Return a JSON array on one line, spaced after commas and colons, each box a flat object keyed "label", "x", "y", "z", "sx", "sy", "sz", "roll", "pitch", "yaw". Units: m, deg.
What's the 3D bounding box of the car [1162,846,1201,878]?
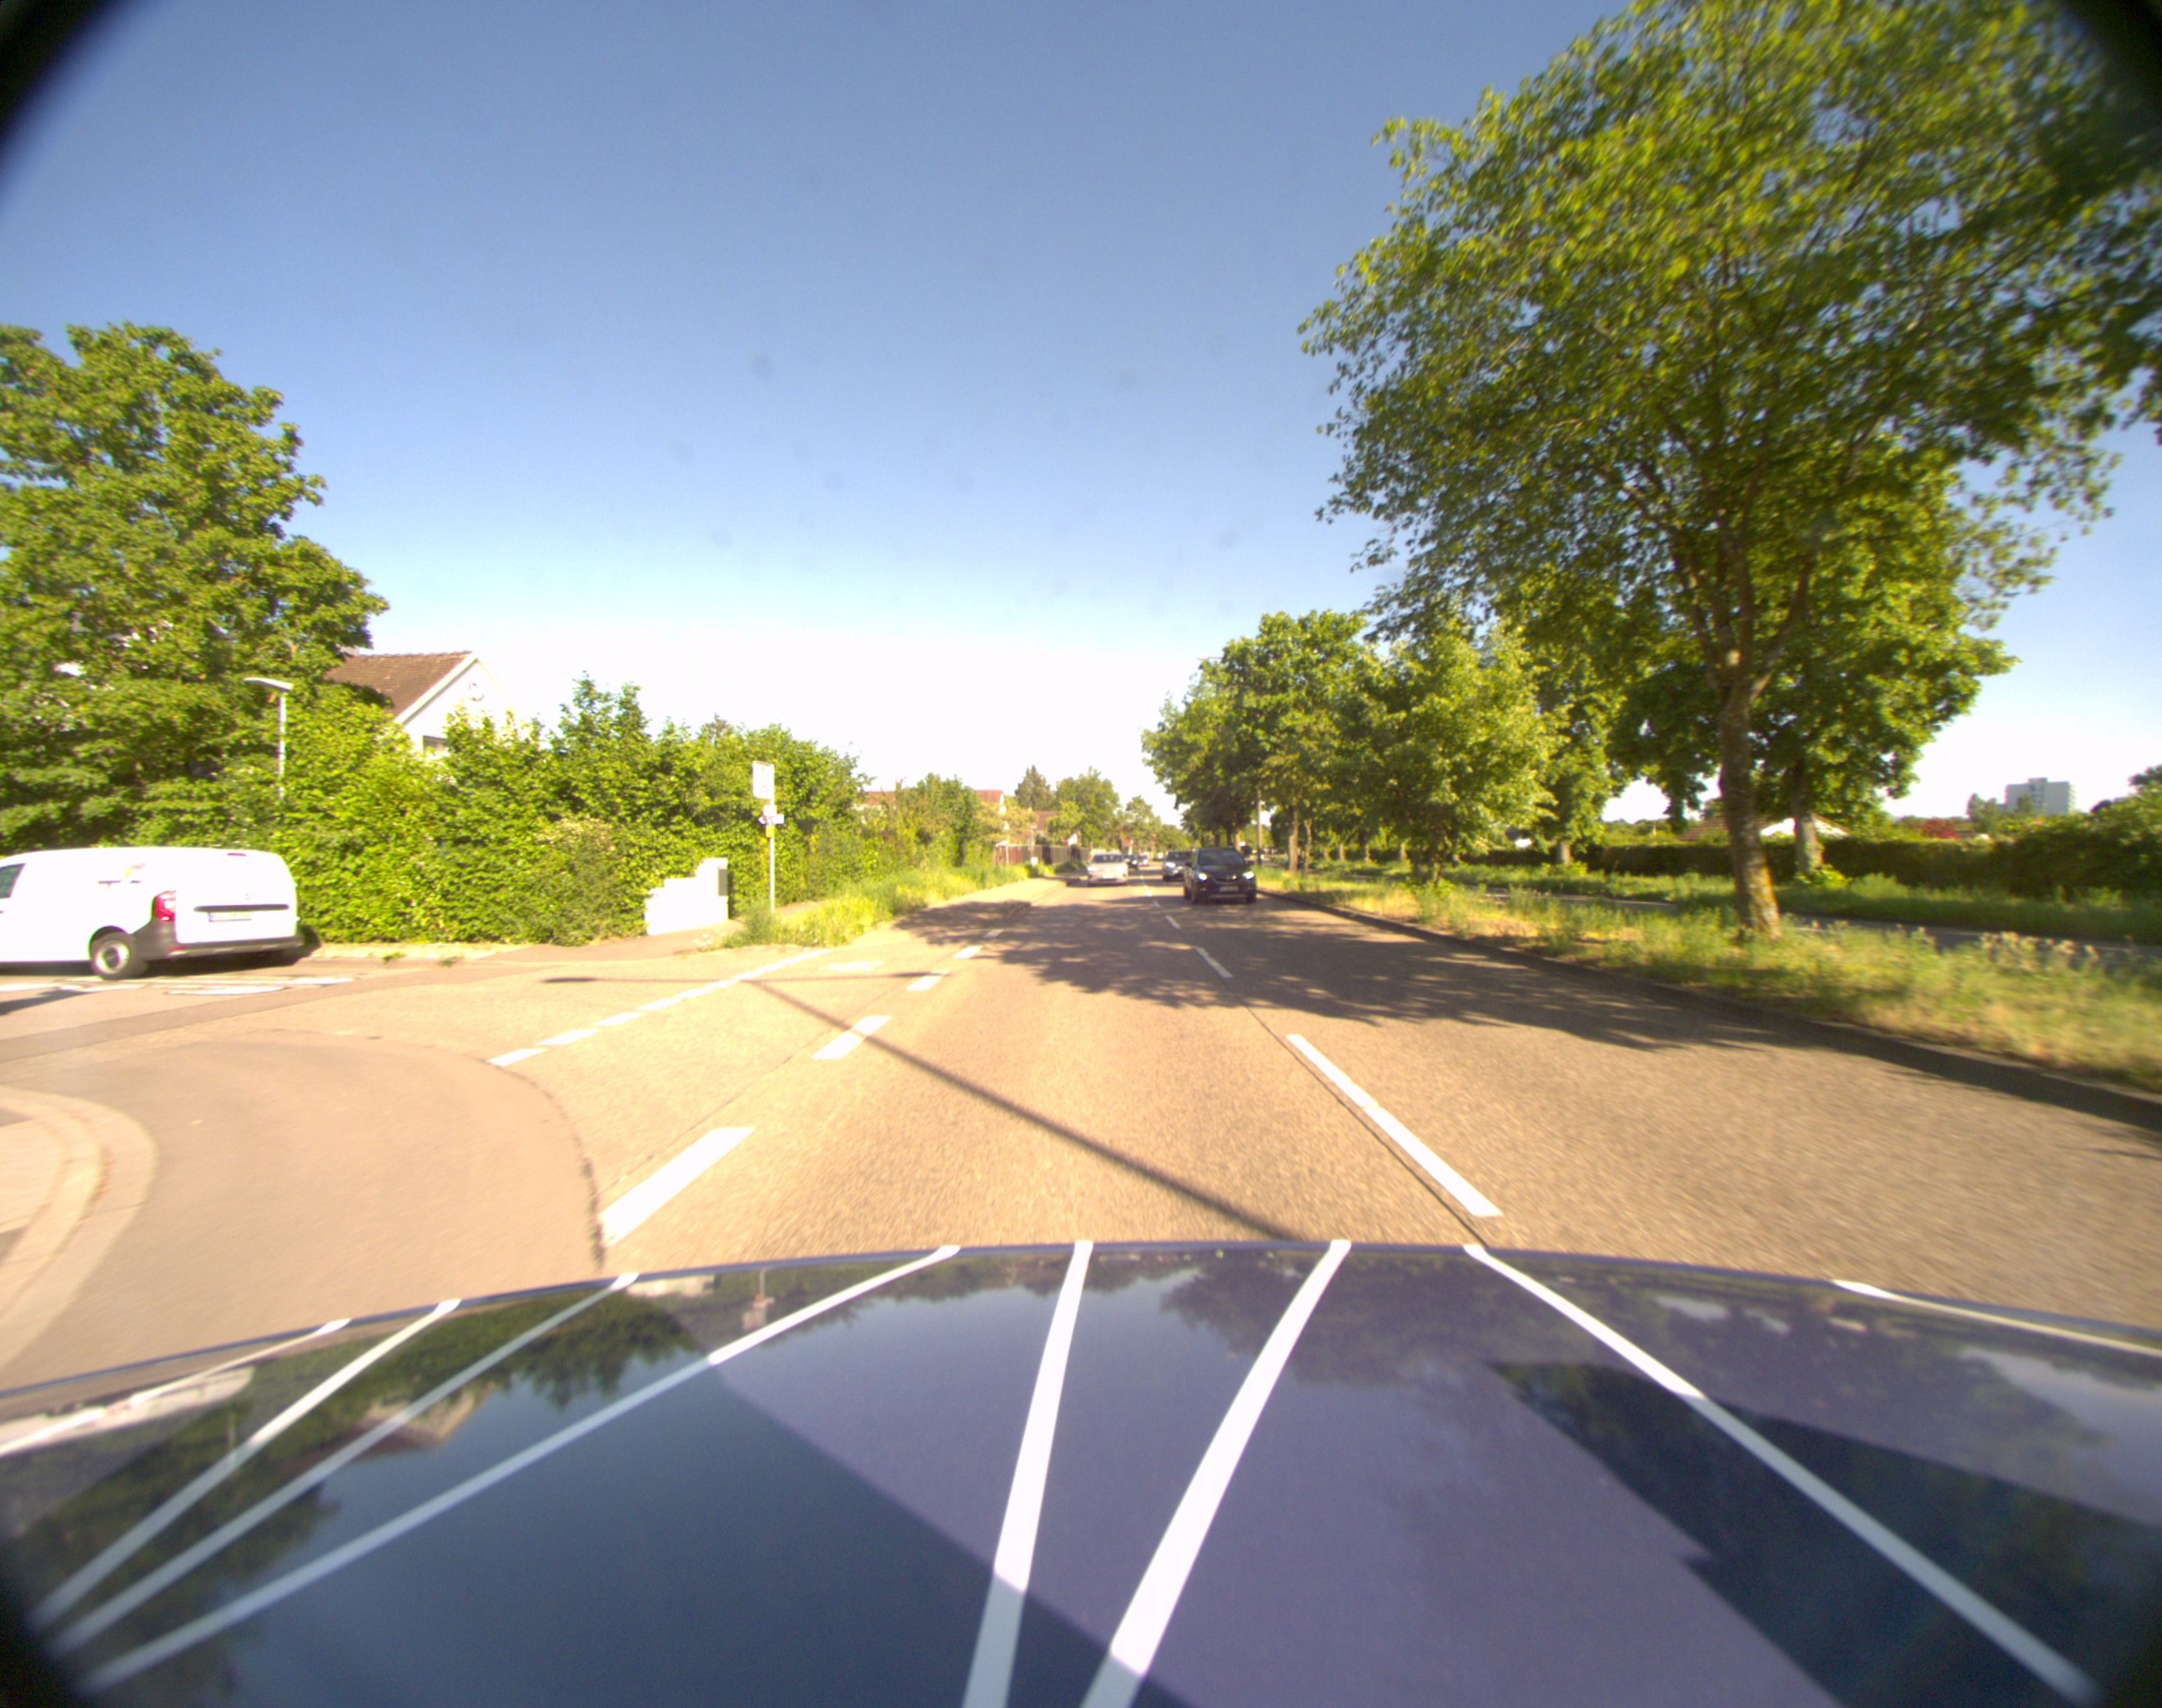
[{"label": "car", "x": 5.272, "y": 0.379, "z": 40.340, "sx": 1.823, "sy": 1.553, "sz": 4.648, "roll": -1, "pitch": 0, "yaw": 5}]

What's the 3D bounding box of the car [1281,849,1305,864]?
[{"label": "car", "x": 21.150, "y": 0.213, "z": 75.878, "sx": 1.695, "sy": 1.428, "sz": 4.943, "roll": 1, "pitch": 1, "yaw": 9}]

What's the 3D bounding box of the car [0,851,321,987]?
[{"label": "car", "x": -14.325, "y": 0.903, "z": 11.131, "sx": 4.640, "sy": 1.791, "sz": 1.933, "roll": -1, "pitch": -1, "yaw": 4}]

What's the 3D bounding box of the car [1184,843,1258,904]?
[{"label": "car", "x": 4.099, "y": 0.515, "z": 22.894, "sx": 1.810, "sy": 1.605, "sz": 4.515, "roll": -1, "pitch": 1, "yaw": 6}]

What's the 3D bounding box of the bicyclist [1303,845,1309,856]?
[{"label": "bicyclist", "x": 30.520, "y": -0.510, "z": 103.011, "sx": 0.691, "sy": 1.412, "sz": 1.001, "roll": -1, "pitch": 1, "yaw": 8}]

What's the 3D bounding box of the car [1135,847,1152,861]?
[{"label": "car", "x": 7.567, "y": -0.058, "z": 91.533, "sx": 1.822, "sy": 1.587, "sz": 4.275, "roll": -1, "pitch": 1, "yaw": 8}]

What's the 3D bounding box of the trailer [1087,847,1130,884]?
[{"label": "trailer", "x": 1.316, "y": 0.502, "z": 35.916, "sx": 1.897, "sy": 1.585, "sz": 4.001, "roll": -2, "pitch": 0, "yaw": 3}]

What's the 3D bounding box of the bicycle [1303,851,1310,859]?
[{"label": "bicycle", "x": 30.540, "y": 0.116, "z": 103.045, "sx": 0.691, "sy": 0.990, "sz": 1.842, "roll": -1, "pitch": 0, "yaw": 8}]

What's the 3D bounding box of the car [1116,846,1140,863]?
[{"label": "car", "x": 4.532, "y": 0.014, "z": 72.433, "sx": 1.822, "sy": 1.553, "sz": 4.274, "roll": -1, "pitch": 1, "yaw": 9}]
